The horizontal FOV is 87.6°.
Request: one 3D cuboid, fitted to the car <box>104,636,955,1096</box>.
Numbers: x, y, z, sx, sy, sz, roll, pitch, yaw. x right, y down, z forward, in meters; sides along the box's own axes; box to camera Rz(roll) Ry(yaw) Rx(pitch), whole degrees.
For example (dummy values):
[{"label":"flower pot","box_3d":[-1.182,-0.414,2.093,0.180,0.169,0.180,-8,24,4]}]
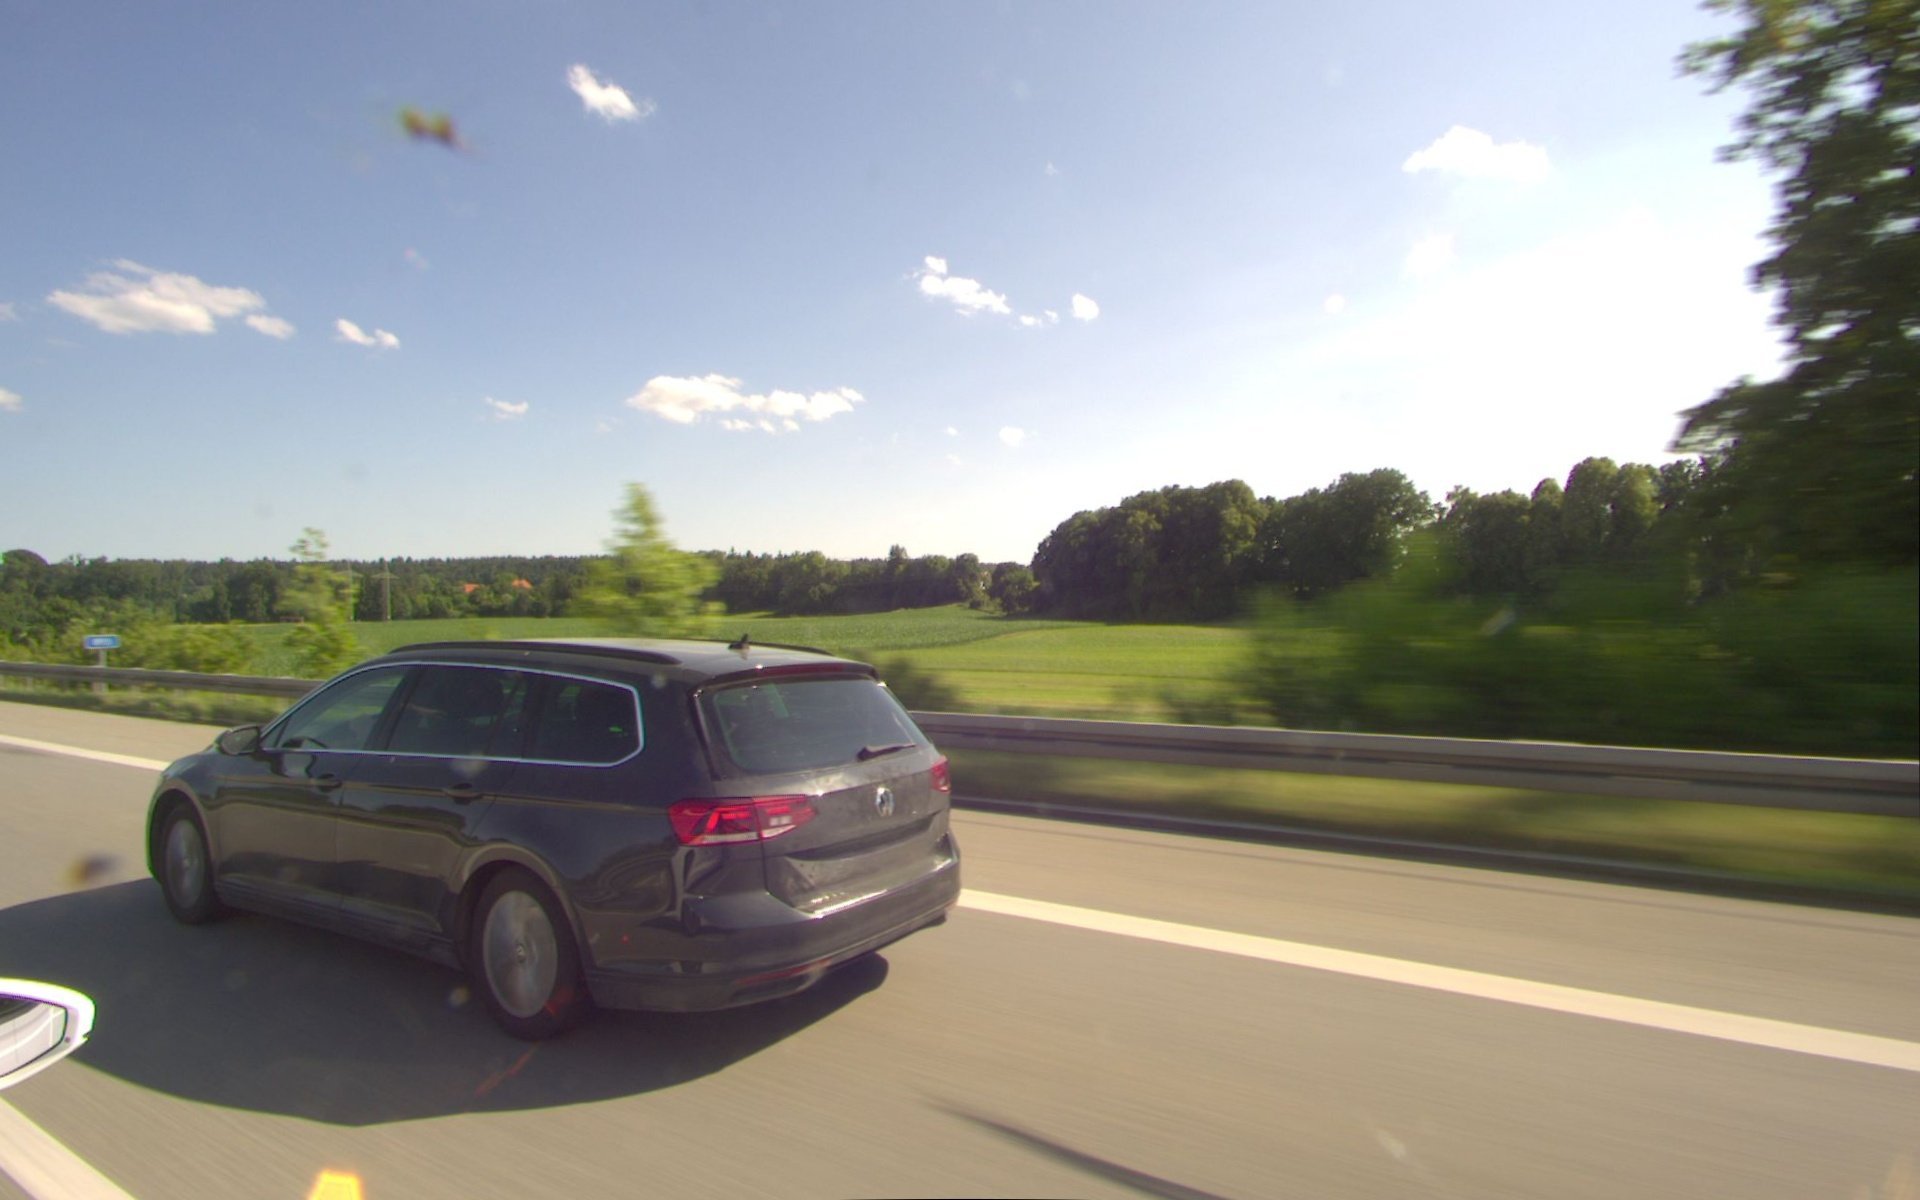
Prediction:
[{"label":"car","box_3d":[-2.312,0.902,4.988,4.350,1.417,1.716,-1,-3,32]}]
